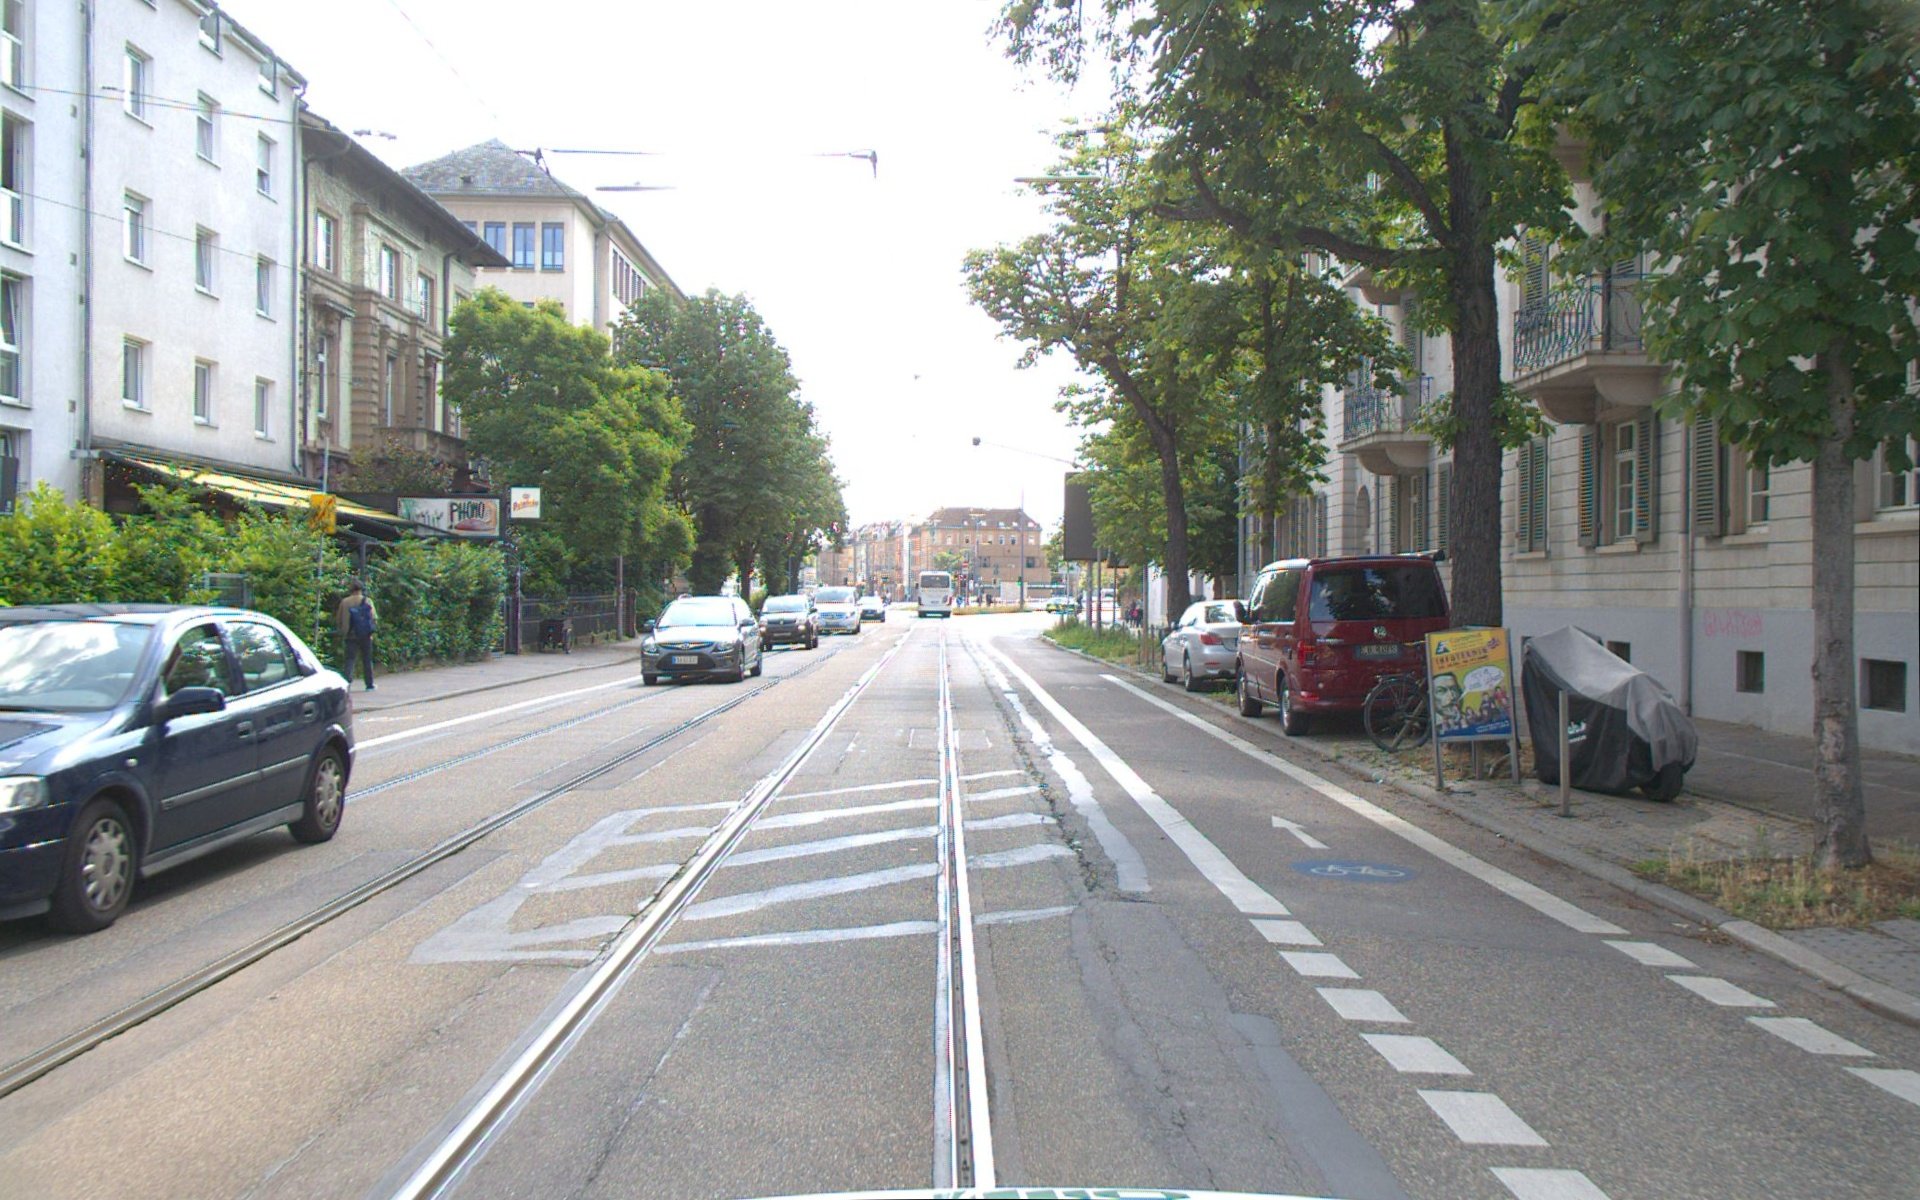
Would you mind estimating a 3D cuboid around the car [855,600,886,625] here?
[{"bbox_3d":[-5.224,0.743,97.130,1.654,1.426,3.929,-1,0,-1],"label":"car"}]

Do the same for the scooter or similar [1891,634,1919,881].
[{"bbox_3d":[5.228,0.818,7.952,0.521,1.273,1.720,0,0,0],"label":"scooter or similar"}]

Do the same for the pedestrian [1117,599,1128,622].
[{"bbox_3d":[8.781,0.544,89.401,0.417,1.221,0.401,-2,1,-33],"label":"pedestrian"}]

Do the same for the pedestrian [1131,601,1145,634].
[{"bbox_3d":[9.514,0.942,88.494,0.670,1.754,0.747,-1,1,2],"label":"pedestrian"}]

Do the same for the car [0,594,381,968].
[{"bbox_3d":[-4.464,0.693,8.450,1.595,1.432,4.128,1,0,-1],"label":"car"}]

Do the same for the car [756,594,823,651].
[{"bbox_3d":[-4.941,0.633,48.293,1.598,1.584,3.821,0,0,0],"label":"car"}]

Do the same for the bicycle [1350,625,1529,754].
[{"bbox_3d":[4.693,0.869,16.227,1.578,1.224,0.589,0,0,-4],"label":"bicycle"}]

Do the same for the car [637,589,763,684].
[{"bbox_3d":[-4.580,0.608,29.692,1.692,1.567,4.275,-1,0,-2],"label":"car"}]

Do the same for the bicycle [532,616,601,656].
[{"bbox_3d":[-10.492,0.947,44.212,1.119,0.924,2.988,3,0,-1],"label":"bicycle"}]

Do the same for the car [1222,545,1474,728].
[{"bbox_3d":[4.580,0.394,20.310,1.857,1.975,4.949,0,0,-1],"label":"car"}]

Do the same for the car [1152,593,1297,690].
[{"bbox_3d":[4.450,0.656,28.467,1.672,1.524,4.788,0,0,-1],"label":"car"}]

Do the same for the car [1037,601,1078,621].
[{"bbox_3d":[9.052,1.024,153.658,2.092,1.713,4.092,2,1,32],"label":"car"}]

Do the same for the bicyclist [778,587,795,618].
[{"bbox_3d":[-8.801,0.134,83.988,0.587,1.518,0.882,-5,0,2],"label":"bicyclist"}]

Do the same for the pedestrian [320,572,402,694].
[{"bbox_3d":[-9.745,0.529,26.937,1.038,1.951,0.829,0,0,-1],"label":"pedestrian"}]

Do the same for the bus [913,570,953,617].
[{"bbox_3d":[-2.155,-0.455,127.383,2.859,3.386,12.202,1,-1,-1],"label":"bus"}]

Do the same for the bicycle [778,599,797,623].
[{"bbox_3d":[-8.760,0.537,84.046,0.590,1.116,2.023,-5,0,2],"label":"bicycle"}]

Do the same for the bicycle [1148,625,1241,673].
[{"bbox_3d":[4.579,0.956,32.409,1.739,0.918,0.692,0,0,2],"label":"bicycle"}]

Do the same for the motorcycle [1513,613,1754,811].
[{"bbox_3d":[5.058,0.782,12.639,0.840,1.344,2.445,1,0,0],"label":"motorcycle"}]

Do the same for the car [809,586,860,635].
[{"bbox_3d":[-5.107,0.421,67.981,1.859,1.940,5.382,0,0,-2],"label":"car"}]
